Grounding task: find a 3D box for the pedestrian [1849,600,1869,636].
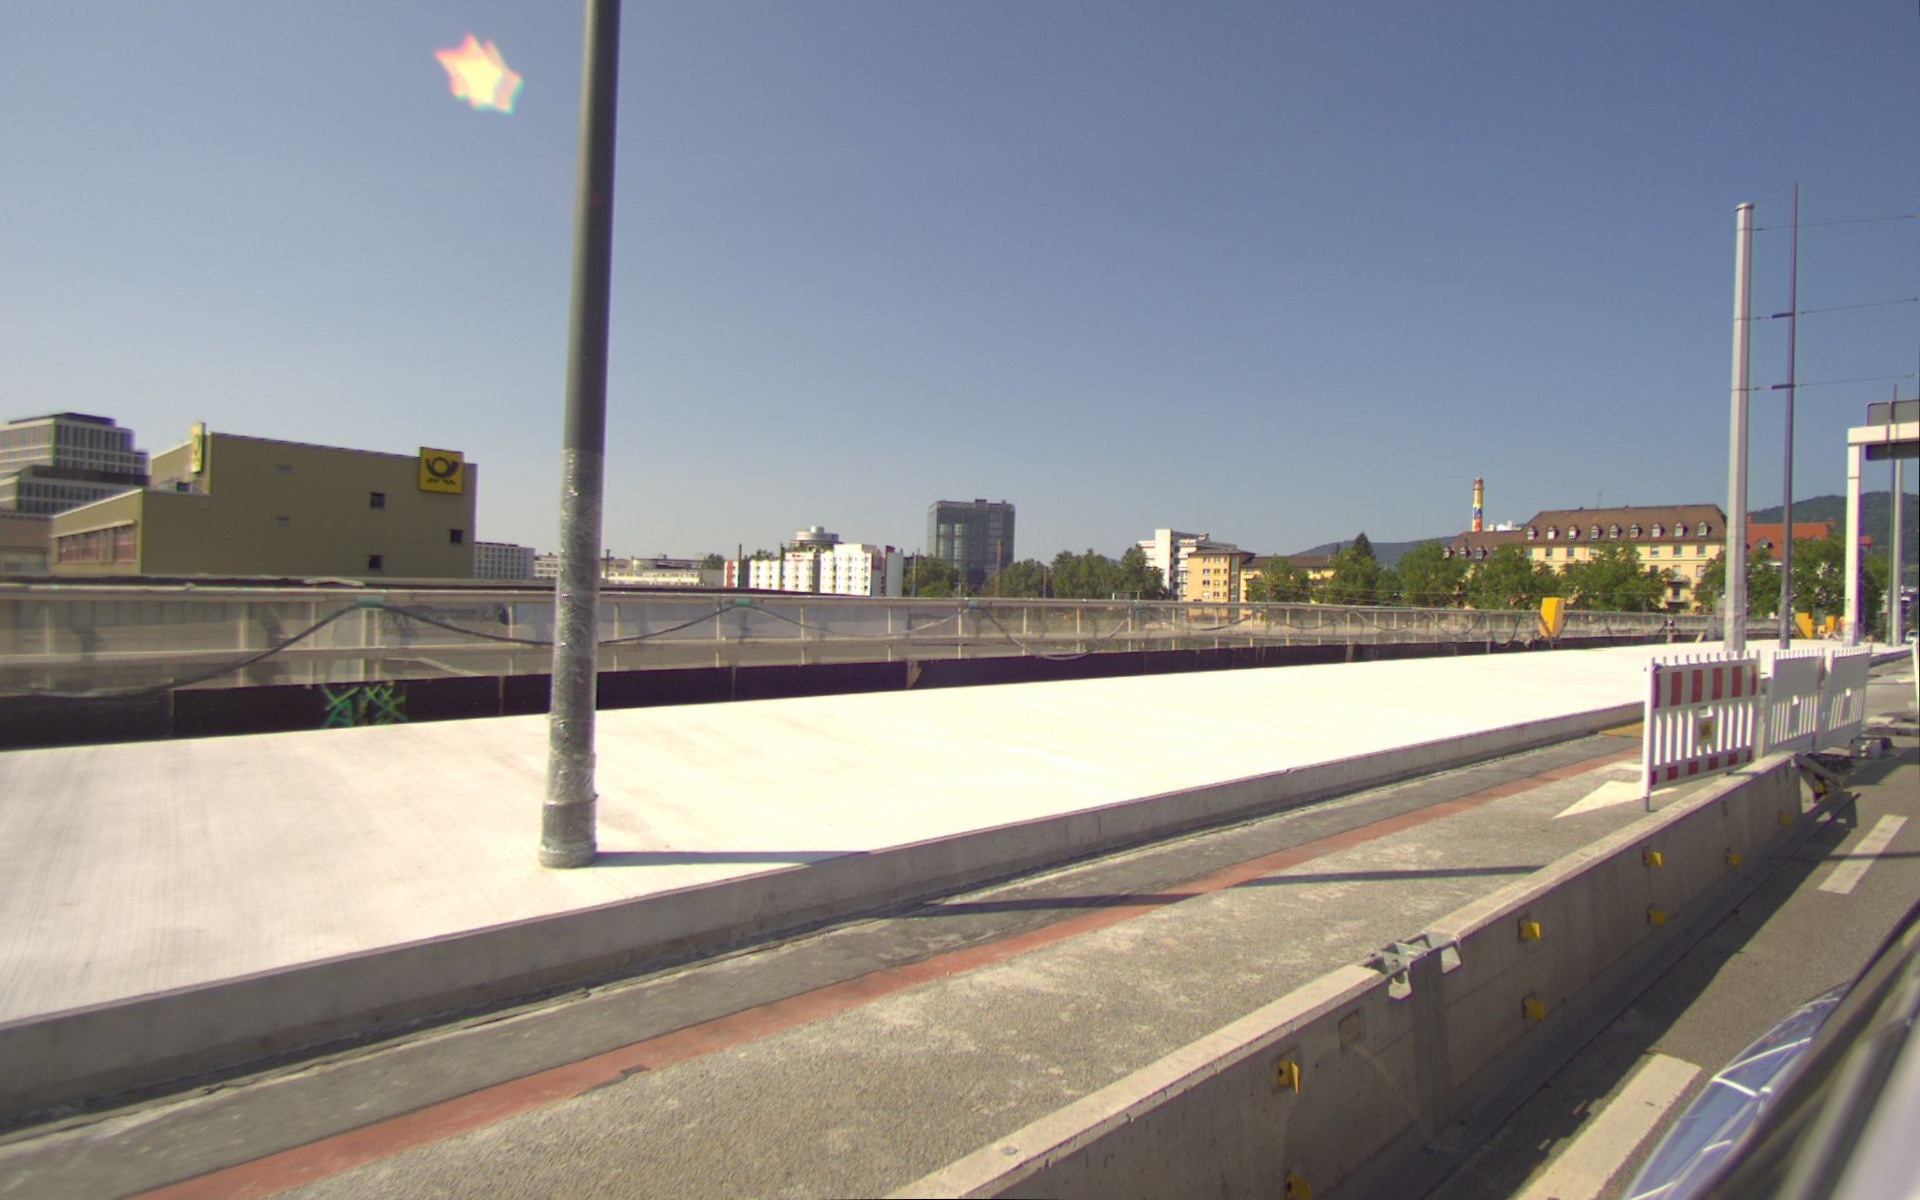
[{"bbox_3d":[51.850,1.048,58.383,0.999,1.989,0.732,2,0,-44],"label":"pedestrian"}]
